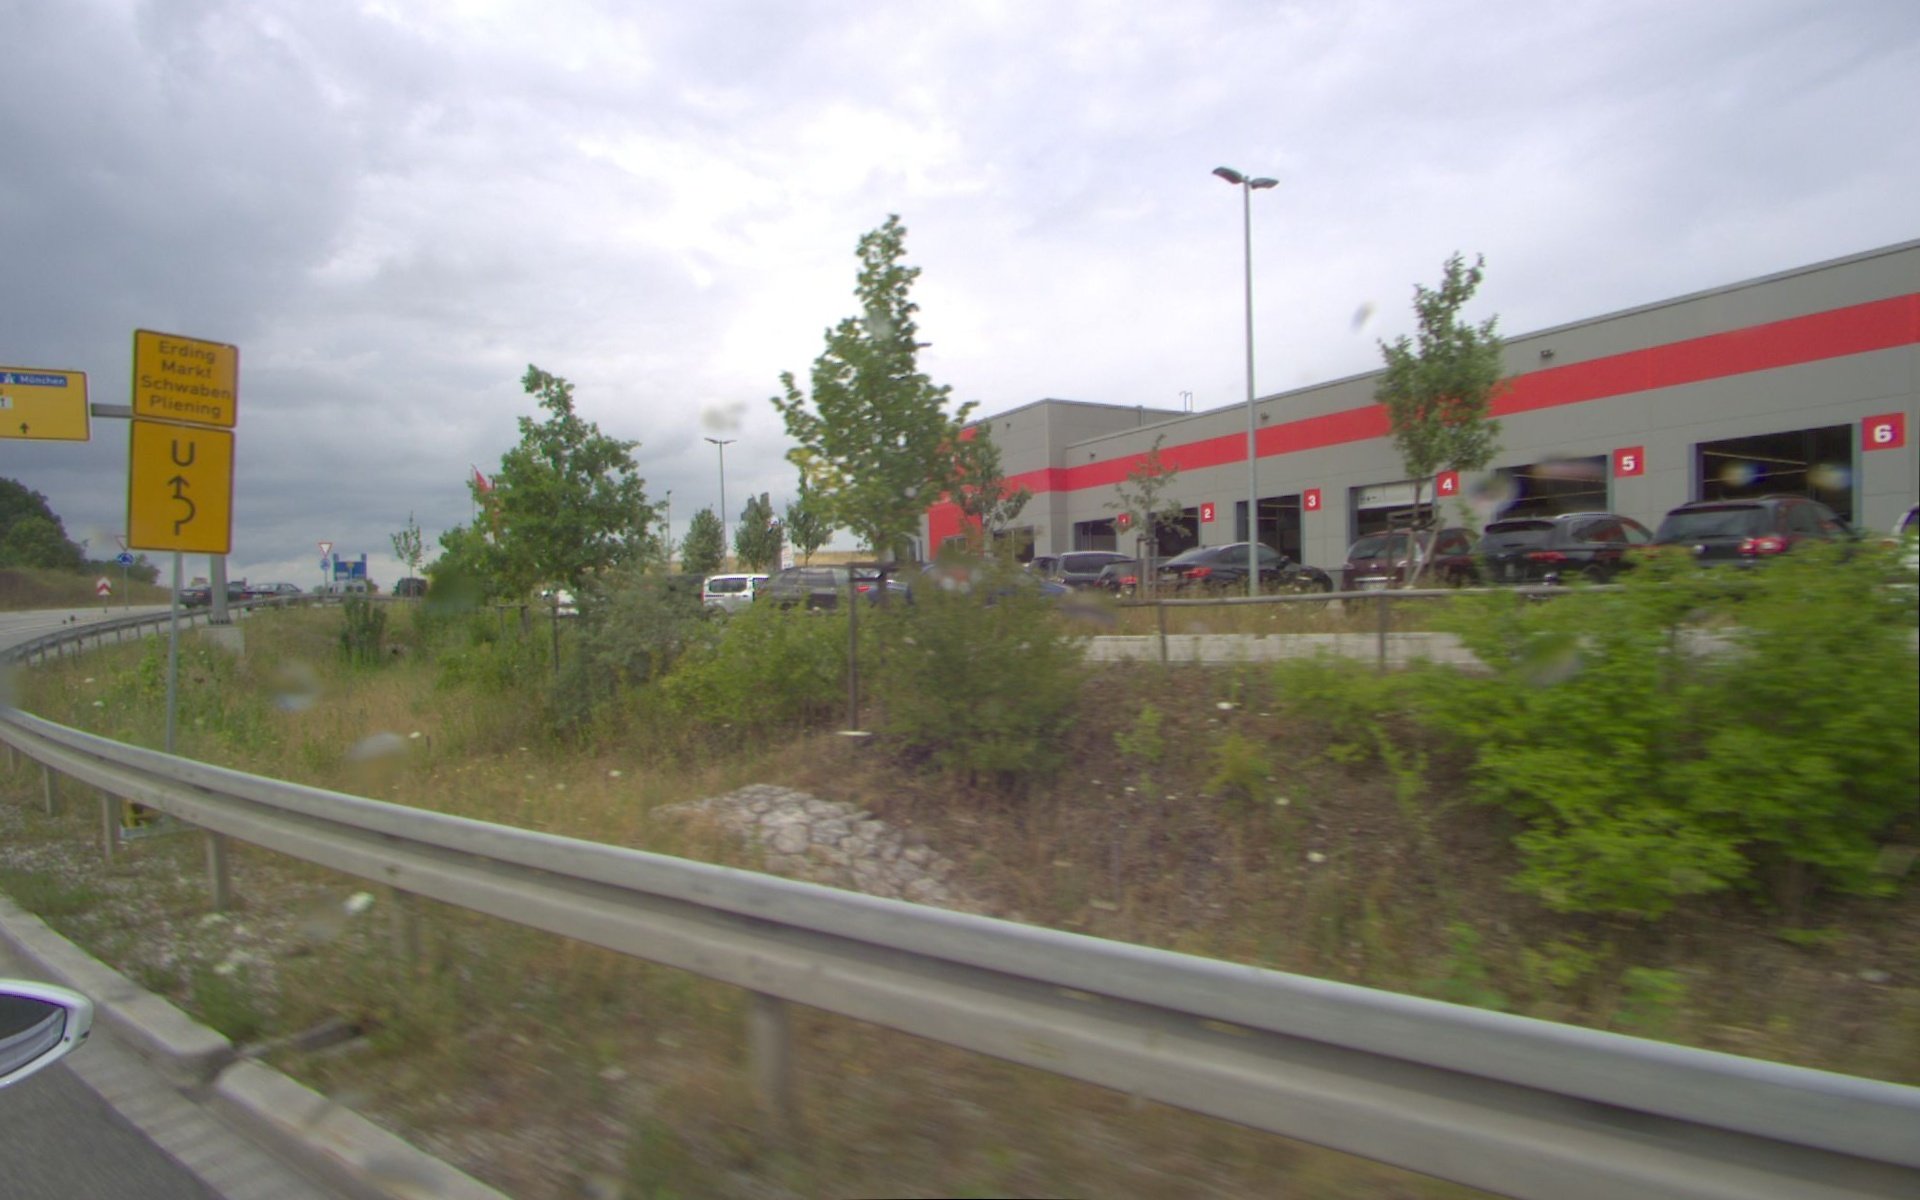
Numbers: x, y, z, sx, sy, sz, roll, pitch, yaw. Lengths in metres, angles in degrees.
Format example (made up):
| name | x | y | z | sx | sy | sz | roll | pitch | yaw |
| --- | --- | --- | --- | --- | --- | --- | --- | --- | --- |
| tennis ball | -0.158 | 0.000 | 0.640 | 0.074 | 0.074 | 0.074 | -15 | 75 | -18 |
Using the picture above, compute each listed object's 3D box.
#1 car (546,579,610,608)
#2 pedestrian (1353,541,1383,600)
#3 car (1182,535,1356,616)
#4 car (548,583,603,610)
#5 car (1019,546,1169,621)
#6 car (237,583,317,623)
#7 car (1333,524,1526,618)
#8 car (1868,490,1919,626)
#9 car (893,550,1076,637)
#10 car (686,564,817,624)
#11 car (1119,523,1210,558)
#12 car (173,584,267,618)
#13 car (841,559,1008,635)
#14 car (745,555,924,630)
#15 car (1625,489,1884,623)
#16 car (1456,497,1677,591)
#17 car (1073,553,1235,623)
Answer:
| name | x | y | z | sx | sy | sz | roll | pitch | yaw |
| --- | --- | --- | --- | --- | --- | --- | --- | --- | --- |
| car | -22.974 | -0.375 | 60.186 | 3.525 | 1.648 | 1.639 | 0 | 2 | 26 |
| pedestrian | 12.466 | -0.901 | 30.590 | 0.625 | 1.765 | 0.592 | -1 | 1 | -9 |
| car | 7.074 | -0.570 | 22.815 | 3.842 | 1.651 | 1.711 | -3 | 1 | -33 |
| car | -31.029 | -0.273 | 80.783 | 3.985 | 2.041 | 1.788 | -2 | 2 | -24 |
| car | 3.652 | -0.453 | 27.090 | 3.807 | 1.844 | 1.711 | -3 | 1 | -33 |
| car | -33.741 | 0.114 | 49.571 | 1.627 | 1.863 | 3.954 | -1 | 1 | -8 |
| car | 8.685 | -0.458 | 18.414 | 3.838 | 1.558 | 1.664 | 0 | -1 | -38 |
| car | 12.709 | -0.571 | 12.084 | 3.575 | 1.559 | 1.635 | -4 | 2 | -31 |
| car | 0.579 | -0.133 | 21.820 | 3.695 | 1.660 | 1.666 | -3 | 1 | 11 |
| car | -7.334 | -0.221 | 35.470 | 4.112 | 1.867 | 1.831 | -3 | 2 | 5 |
| car | 9.434 | -2.718 | 46.103 | 3.855 | 1.536 | 1.786 | -1 | 3 | -29 |
| car | -41.091 | 0.030 | 55.748 | 1.865 | 1.807 | 4.155 | -1 | 1 | 5 |
| car | -0.808 | -0.086 | 24.423 | 3.736 | 1.629 | 1.757 | -3 | 2 | 9 |
| car | -3.369 | -0.216 | 27.287 | 4.463 | 1.757 | 1.831 | -3 | 2 | 6 |
| car | 11.144 | -0.556 | 14.028 | 3.396 | 1.657 | 1.723 | -1 | 0 | -30 |
| car | 9.853 | -0.841 | 16.248 | 3.396 | 1.352 | 1.635 | -1 | 0 | -30 |
| car | 4.891 | -0.322 | 25.061 | 3.842 | 1.554 | 1.711 | -3 | 1 | -33 |
